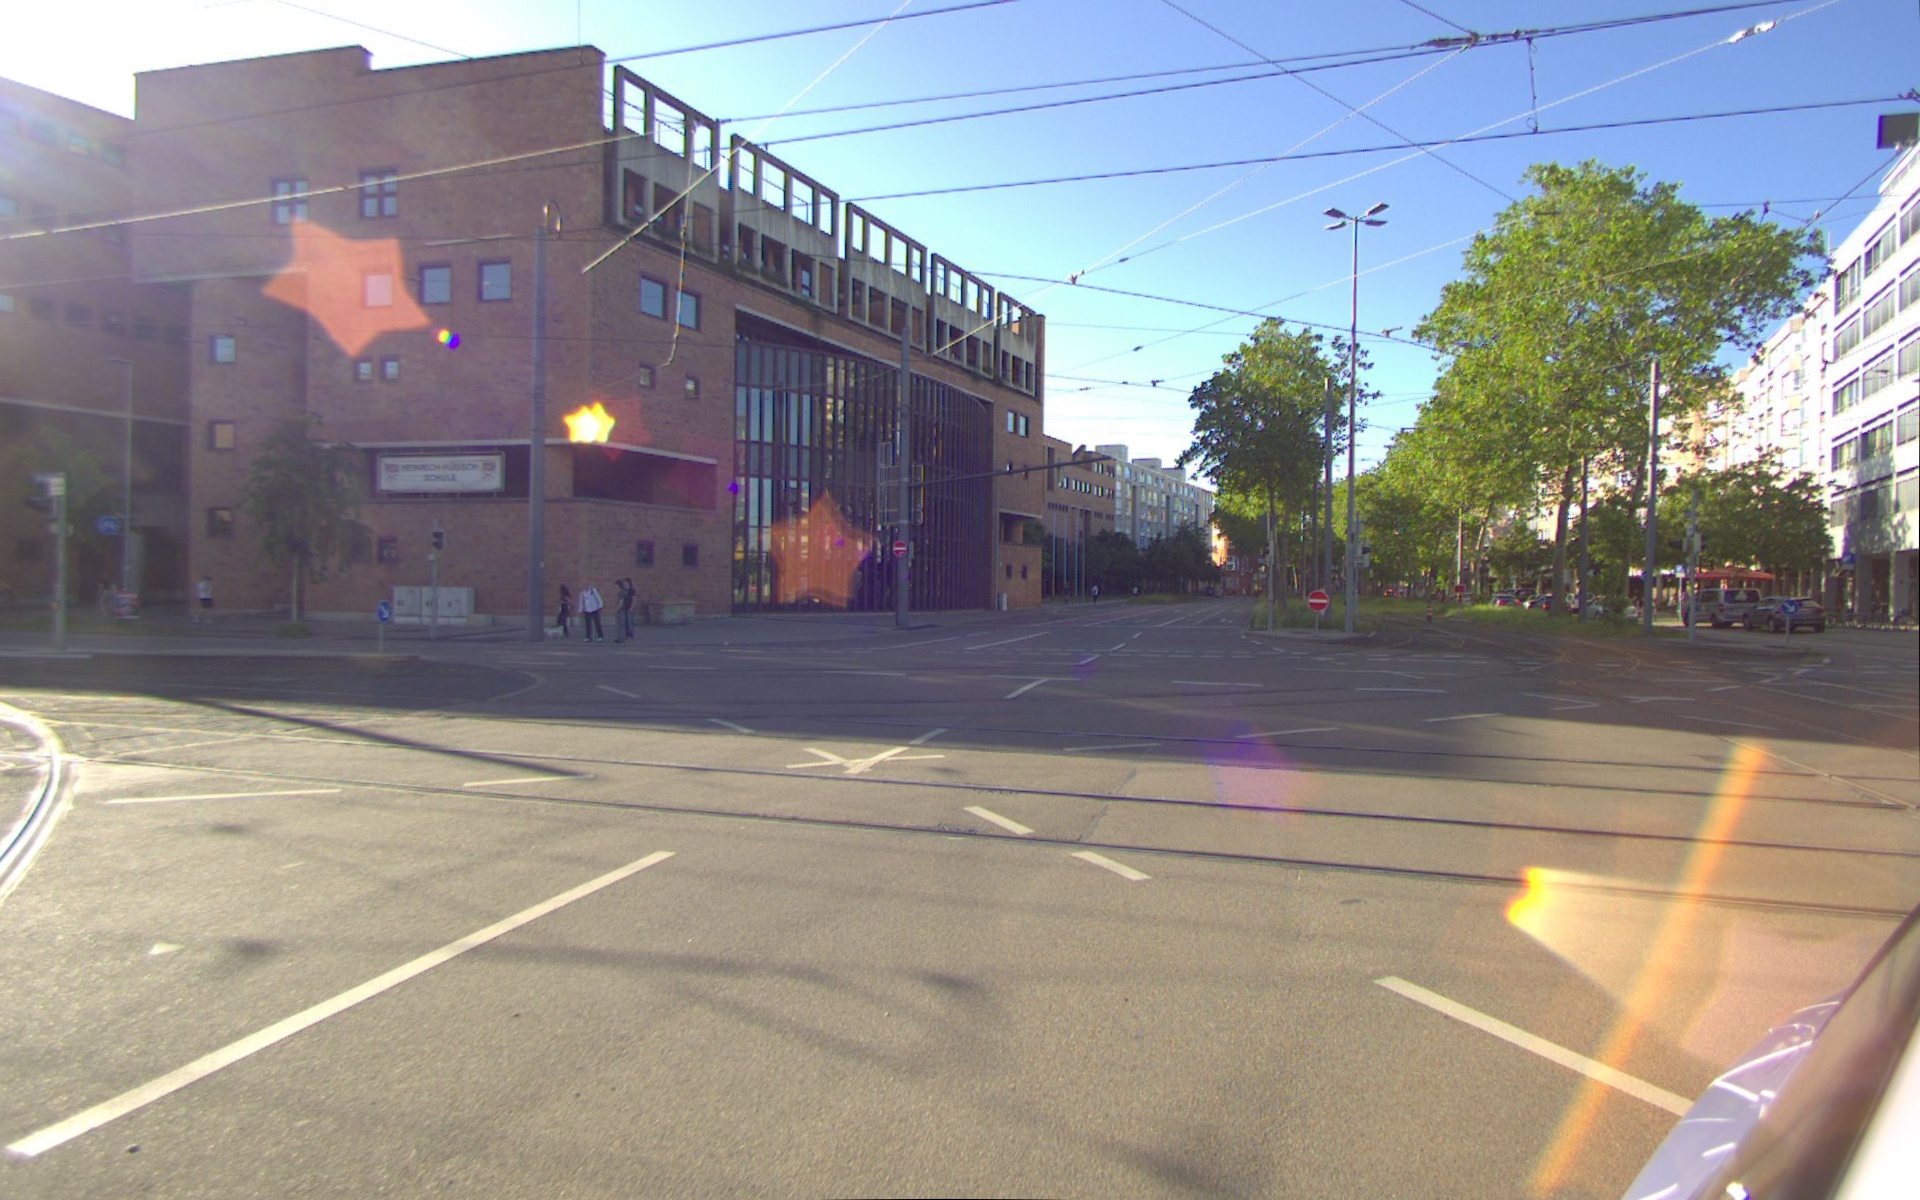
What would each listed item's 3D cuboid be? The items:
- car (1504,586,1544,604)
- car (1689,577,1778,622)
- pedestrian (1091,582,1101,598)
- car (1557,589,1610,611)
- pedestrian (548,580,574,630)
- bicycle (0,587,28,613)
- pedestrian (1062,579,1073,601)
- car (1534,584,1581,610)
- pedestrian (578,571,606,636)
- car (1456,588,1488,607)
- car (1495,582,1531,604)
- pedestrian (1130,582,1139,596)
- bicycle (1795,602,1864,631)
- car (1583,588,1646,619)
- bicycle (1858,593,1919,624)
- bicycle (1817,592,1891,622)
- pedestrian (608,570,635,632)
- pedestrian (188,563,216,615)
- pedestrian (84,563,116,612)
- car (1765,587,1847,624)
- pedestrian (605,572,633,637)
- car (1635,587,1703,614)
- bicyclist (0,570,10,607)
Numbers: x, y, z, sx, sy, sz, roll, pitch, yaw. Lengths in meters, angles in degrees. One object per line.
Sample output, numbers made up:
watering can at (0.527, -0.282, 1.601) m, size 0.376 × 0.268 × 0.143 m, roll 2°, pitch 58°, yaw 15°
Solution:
car at (48.855, -0.415, 87.792) m, size 1.838 × 1.493 × 3.965 m, roll 1°, pitch 1°, yaw 11°
car at (37.023, -0.083, 48.589) m, size 1.841 × 2.041 × 4.435 m, roll 1°, pitch 1°, yaw 16°
pedestrian at (11.914, -0.854, 88.582) m, size 0.802 × 1.401 × 0.683 m, roll 1°, pitch 1°, yaw 19°
car at (43.973, -0.019, 71.475) m, size 1.838 × 1.493 × 3.965 m, roll 1°, pitch 1°, yaw 11°
pedestrian at (-12.023, 0.149, 30.489) m, size 0.562 × 1.495 × 0.549 m, roll 1°, pitch 1°, yaw -1°
bicycle at (-35.533, -0.016, 37.337) m, size 2.314 × 0.916 × 0.647 m, roll 1°, pitch 1°, yaw 18°
pedestrian at (8.276, -0.772, 78.180) m, size 0.798 × 1.626 × 0.686 m, roll 1°, pitch 1°, yaw 4°
car at (36.129, -0.188, 61.295) m, size 1.845 × 1.493 × 3.949 m, roll 1°, pitch 1°, yaw 22°
pedestrian at (-10.470, 0.086, 28.828) m, size 0.540 × 1.808 × 0.572 m, roll 0°, pitch 1°, yaw 9°
car at (43.504, -0.219, 86.034) m, size 1.676 × 1.493 × 3.962 m, roll 1°, pitch 1°, yaw 16°
car at (39.422, -0.496, 72.272) m, size 1.680 × 1.458 × 3.991 m, roll 0°, pitch 0°, yaw 20°
pedestrian at (18.597, -1.180, 107.773) m, size 0.802 × 1.401 × 0.683 m, roll 1°, pitch 1°, yaw 19°
bicycle at (40.856, 0.768, 47.553) m, size 2.356 × 1.229 × 0.773 m, roll 2°, pitch 0°, yaw 10°
car at (31.694, 0.140, 49.086) m, size 1.645 × 1.406 × 3.516 m, roll 3°, pitch 1°, yaw 18°
bicycle at (39.885, 0.359, 43.067) m, size 2.375 × 1.229 × 0.767 m, roll 2°, pitch 0°, yaw 31°
bicycle at (39.555, 0.313, 44.803) m, size 2.356 × 1.229 × 0.773 m, roll 2°, pitch 0°, yaw 10°
pedestrian at (-9.945, 0.029, 29.730) m, size 0.540 × 1.808 × 0.572 m, roll 0°, pitch 1°, yaw 9°
pedestrian at (-26.995, -0.407, 36.032) m, size 0.566 × 1.808 × 0.546 m, roll 3°, pitch 1°, yaw 19°
pedestrian at (-32.507, -0.486, 38.252) m, size 0.680 × 1.808 × 0.638 m, roll 1°, pitch 1°, yaw 19°
car at (35.772, 0.193, 42.895) m, size 1.850 × 1.493 × 3.938 m, roll 1°, pitch 1°, yaw 28°
pedestrian at (-9.587, 0.123, 28.490) m, size 0.540 × 1.808 × 0.572 m, roll 0°, pitch 1°, yaw 9°
car at (42.260, 0.009, 60.438) m, size 1.838 × 1.493 × 3.965 m, roll 1°, pitch 1°, yaw 11°
bicyclist at (-35.707, -0.418, 37.398) m, size 0.644 × 1.356 × 0.644 m, roll 0°, pitch 0°, yaw 18°
